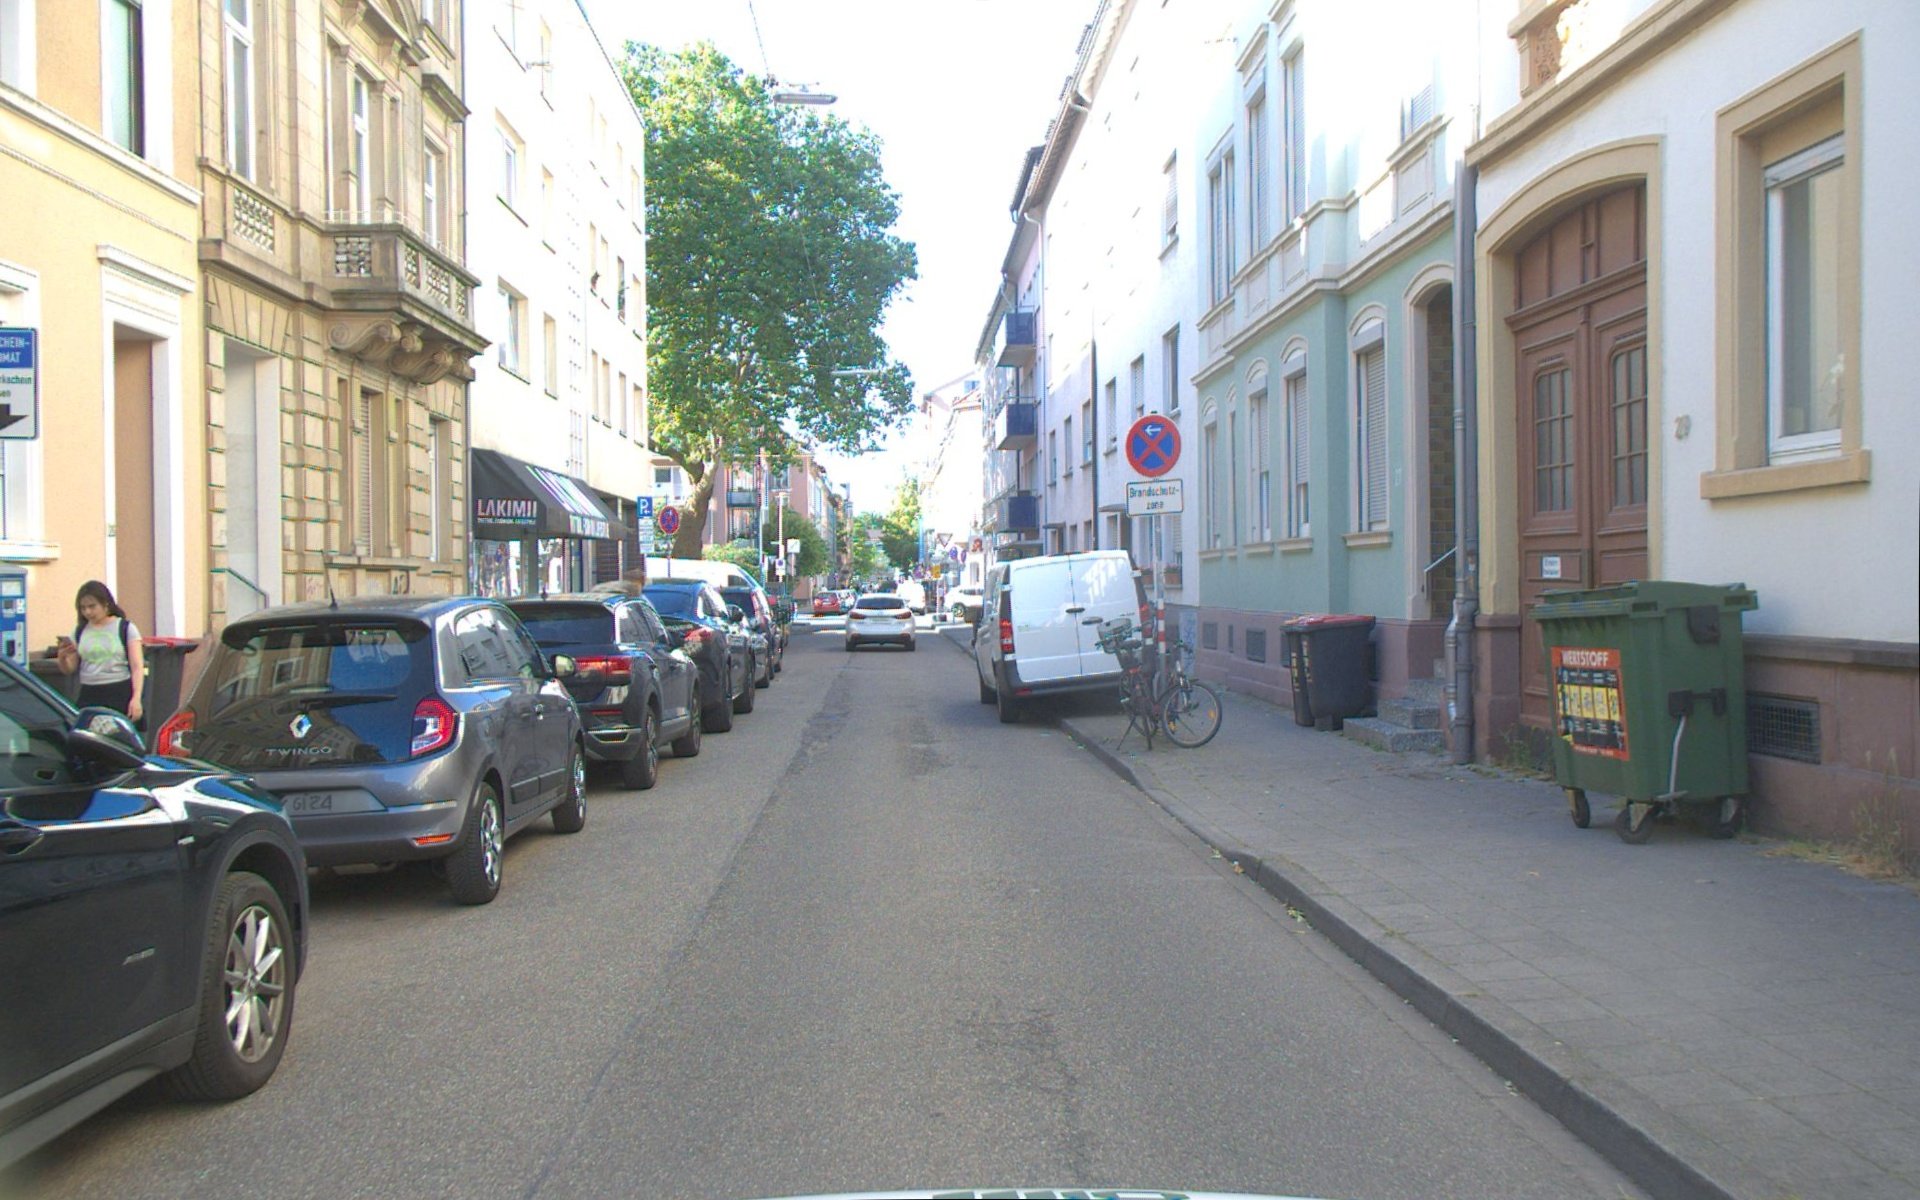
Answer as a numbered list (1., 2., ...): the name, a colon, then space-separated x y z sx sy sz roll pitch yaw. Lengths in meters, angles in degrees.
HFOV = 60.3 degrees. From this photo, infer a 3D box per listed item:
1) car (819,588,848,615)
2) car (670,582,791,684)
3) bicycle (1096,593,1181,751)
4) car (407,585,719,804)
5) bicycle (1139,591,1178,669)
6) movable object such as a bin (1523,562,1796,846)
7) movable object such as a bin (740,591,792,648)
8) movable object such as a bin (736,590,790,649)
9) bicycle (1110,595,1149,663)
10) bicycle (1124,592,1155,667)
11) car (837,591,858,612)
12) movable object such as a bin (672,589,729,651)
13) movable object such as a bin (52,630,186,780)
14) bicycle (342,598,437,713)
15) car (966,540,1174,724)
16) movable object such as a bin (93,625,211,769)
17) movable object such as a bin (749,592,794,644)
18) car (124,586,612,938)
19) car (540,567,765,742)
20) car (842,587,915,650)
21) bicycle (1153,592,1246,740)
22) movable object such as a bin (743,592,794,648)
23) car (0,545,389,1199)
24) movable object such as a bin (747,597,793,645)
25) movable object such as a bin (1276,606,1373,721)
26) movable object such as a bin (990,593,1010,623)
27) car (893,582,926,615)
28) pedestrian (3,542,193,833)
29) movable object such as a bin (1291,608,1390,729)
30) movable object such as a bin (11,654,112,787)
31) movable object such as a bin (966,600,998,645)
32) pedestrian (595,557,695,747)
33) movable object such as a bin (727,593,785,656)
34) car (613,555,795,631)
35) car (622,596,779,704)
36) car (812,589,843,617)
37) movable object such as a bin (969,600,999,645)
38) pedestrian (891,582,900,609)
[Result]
1. car: -8.085 0.086 106.160 1.686 1.712 3.724 -1 0 -2
2. car: -4.226 0.551 31.043 1.747 1.696 4.668 -2 0 -2
3. bicycle: 1.644 0.625 15.503 0.563 1.343 2.199 -2 1 1
4. car: -3.245 0.683 14.381 1.679 1.558 4.366 -2 0 -1
5. bicycle: 3.262 0.485 27.264 0.397 1.227 2.159 -1 0 1
6. movable object such as a bin: 3.833 0.550 9.185 0.821 1.414 1.296 -3 -2 -4
7. movable object such as a bin: -5.201 0.522 44.498 1.316 1.525 1.017 0 -1 -3
8. movable object such as a bin: -5.175 0.510 43.463 1.321 1.513 1.002 0 -1 -3
9. bicycle: 3.029 0.510 29.680 0.557 1.173 1.868 -1 0 2
10. bicycle: 3.087 0.494 28.592 0.428 1.227 2.267 -1 0 4
11. car: -9.025 0.123 132.754 1.541 1.613 3.609 -1 0 -2
12. movable object such as a bin: -6.448 0.495 41.185 1.270 1.524 1.178 0 -1 -3
13. movable object such as a bin: -6.665 0.818 13.133 0.721 1.108 0.682 -1 2 -6
14. bicycle: -6.789 0.637 19.750 0.500 1.299 1.866 -1 0 -1
15. car: 1.253 0.331 21.450 1.944 1.916 5.596 -4 1 -3
16. movable object such as a bin: -6.709 0.790 13.753 0.705 1.152 0.584 -1 -1 -6
17. movable object such as a bin: -5.435 0.507 47.747 1.275 1.476 1.116 0 -1 -6
18. car: -3.141 0.727 9.616 1.583 1.581 3.975 -1 0 -3
19. car: -3.521 0.555 19.890 1.897 1.766 5.139 -2 0 -2
20. car: -2.139 0.442 43.214 1.787 1.540 3.821 -1 0 -3
21. bicycle: 2.269 0.583 15.855 0.563 1.293 2.199 -3 0 1
22. movable object such as a bin: -5.265 0.534 45.564 1.307 1.517 1.081 0 -1 -3
23. car: -2.943 0.731 3.826 1.709 1.643 4.601 -2 1 -2
24. movable object such as a bin: -5.358 0.594 46.651 1.216 1.345 1.045 0 -1 -3
25. movable object such as a bin: 3.612 0.622 16.445 0.796 1.107 0.673 -1 0 -1
26. movable object such as a bin: 1.484 0.307 61.618 0.687 1.092 0.596 -1 -1 -1
27. car: -3.204 -0.098 104.012 1.905 1.982 4.074 0 0 -5
28. pedestrian: -5.374 0.520 10.365 0.749 1.744 0.883 0 1 -3
29. movable object such as a bin: 3.618 0.638 15.773 0.780 1.115 0.642 -1 -1 -1
30. movable object such as a bin: -6.726 0.894 12.400 0.463 0.953 0.560 1 0 -5
31. movable object such as a bin: 0.557 0.568 42.092 0.752 1.105 0.693 -1 0 -2
32. pedestrian: -3.202 0.516 16.891 0.848 1.868 0.883 -1 -1 -2
33. movable object such as a bin: -5.073 0.605 41.247 1.293 1.476 1.186 -2 0 -3
34. car: -9.795 -0.256 63.691 6.602 2.599 2.145 2 -1 -1
35. car: -3.910 0.711 25.674 1.808 1.441 4.815 -2 0 -2
36. car: -8.028 0.153 100.560 1.734 1.616 3.724 -1 1 -3
37. movable object such as a bin: 0.595 0.557 41.380 0.717 1.099 0.703 -1 0 -2
38. pedestrian: -5.222 -0.336 133.926 0.755 2.155 0.834 -1 -1 -2
